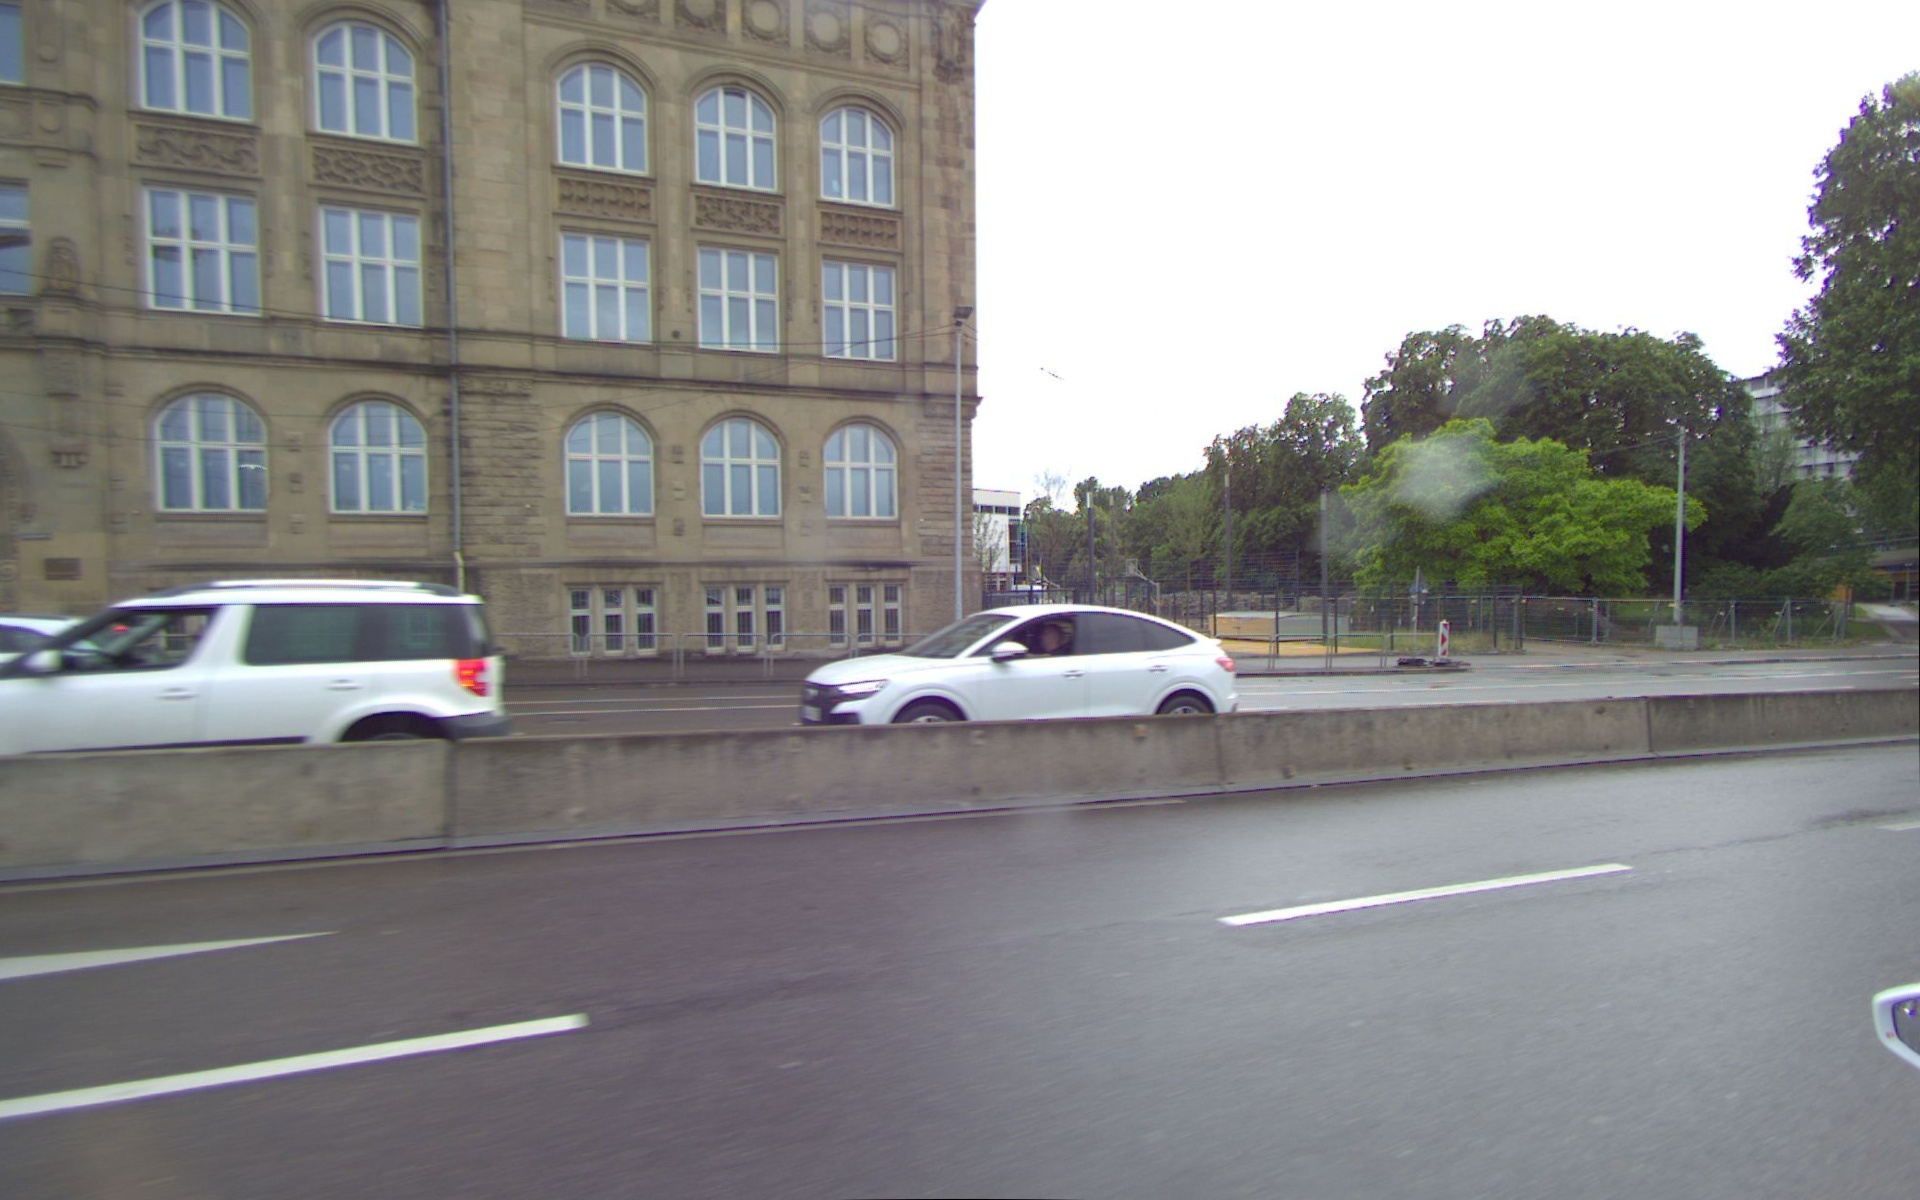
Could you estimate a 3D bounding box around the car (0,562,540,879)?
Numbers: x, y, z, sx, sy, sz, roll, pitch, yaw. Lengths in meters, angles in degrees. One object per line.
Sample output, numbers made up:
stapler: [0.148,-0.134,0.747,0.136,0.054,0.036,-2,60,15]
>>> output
car: [-5.395,0.752,7.216,4.319,1.891,1.904,1,-2,-25]

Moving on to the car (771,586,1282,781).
car: [0.712,0.737,10.090,4.832,1.588,1.888,1,-2,-25]

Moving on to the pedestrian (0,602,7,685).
pedestrian: [-18.724,0.831,19.054,0.724,1.605,0.615,1,-1,-23]

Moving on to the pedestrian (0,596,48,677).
pedestrian: [-18.901,0.733,20.158,0.726,1.605,0.613,1,-1,-30]

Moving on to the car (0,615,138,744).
car: [-12.005,0.869,11.118,4.160,1.400,1.985,1,-2,-29]
